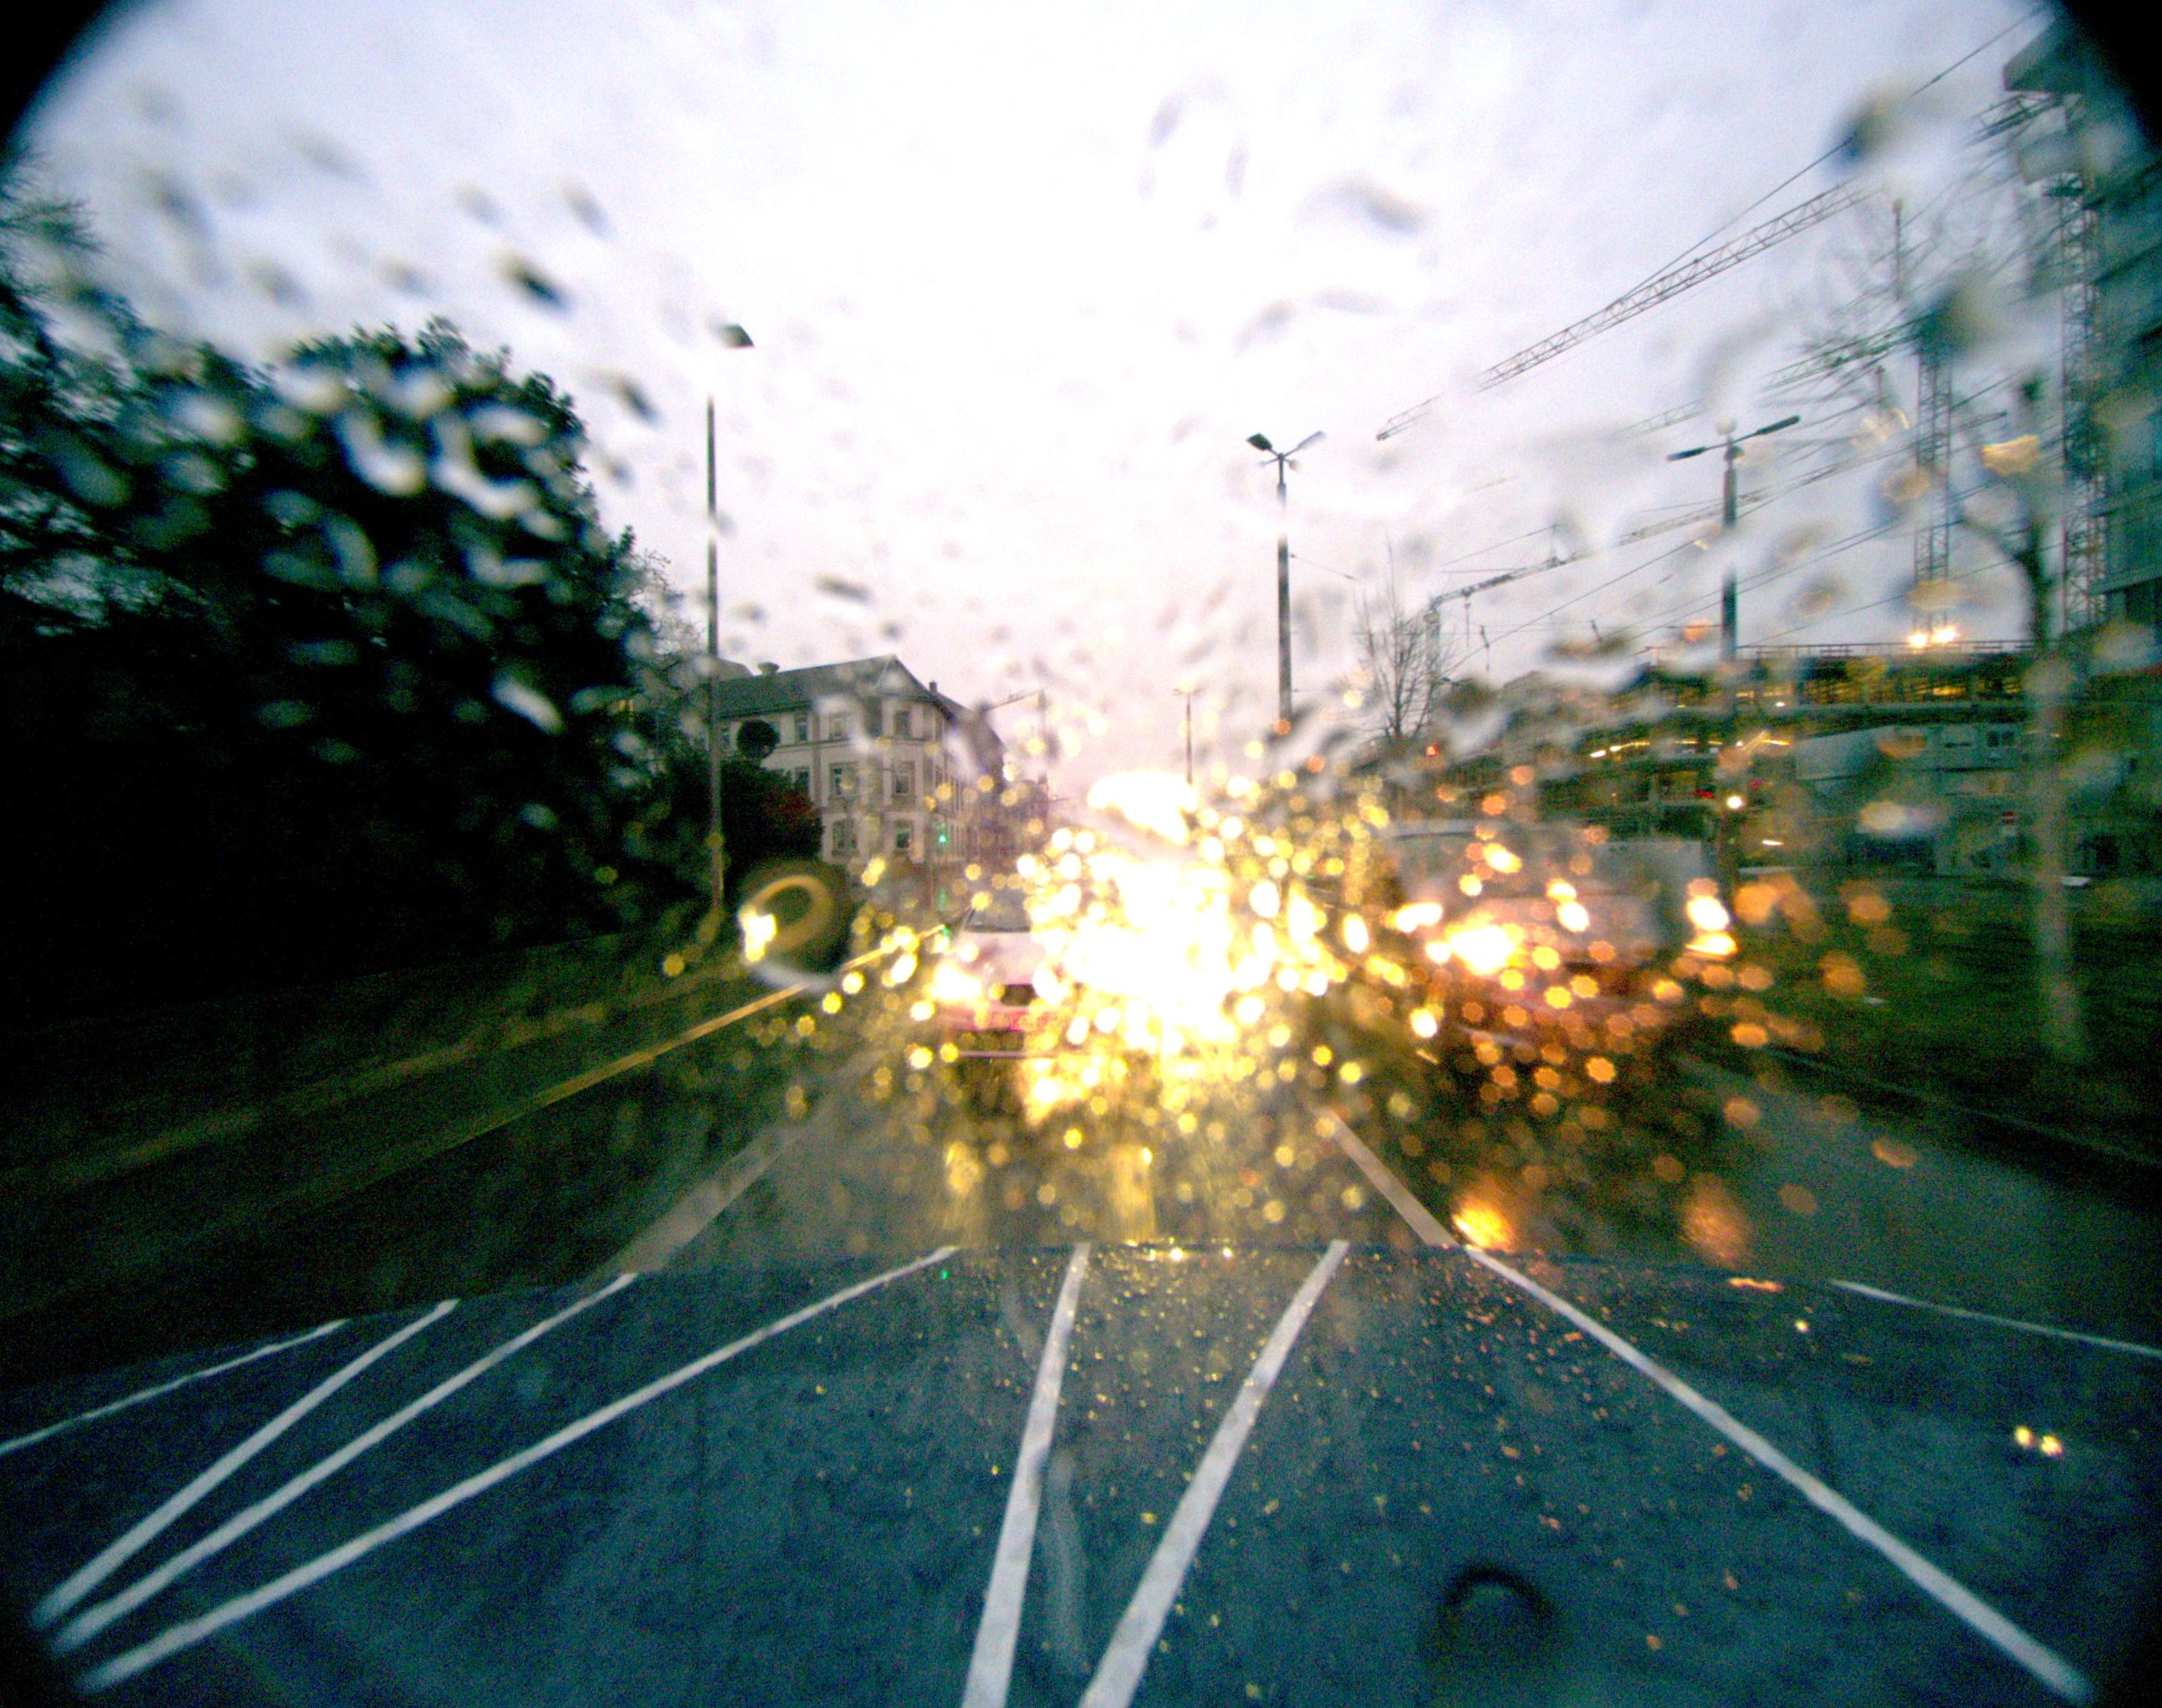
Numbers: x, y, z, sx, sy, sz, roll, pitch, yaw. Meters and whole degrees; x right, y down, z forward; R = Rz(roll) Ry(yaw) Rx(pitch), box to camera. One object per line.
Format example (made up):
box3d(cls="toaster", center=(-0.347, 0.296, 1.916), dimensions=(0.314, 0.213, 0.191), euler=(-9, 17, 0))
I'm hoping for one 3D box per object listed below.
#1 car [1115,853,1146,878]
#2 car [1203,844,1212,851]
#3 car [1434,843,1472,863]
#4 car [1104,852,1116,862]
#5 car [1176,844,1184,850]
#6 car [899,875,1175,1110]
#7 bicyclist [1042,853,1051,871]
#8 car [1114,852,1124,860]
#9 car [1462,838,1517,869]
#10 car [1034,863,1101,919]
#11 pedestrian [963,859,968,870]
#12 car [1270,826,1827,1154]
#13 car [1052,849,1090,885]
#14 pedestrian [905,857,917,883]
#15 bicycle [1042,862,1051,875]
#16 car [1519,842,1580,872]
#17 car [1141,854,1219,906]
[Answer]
box3d(cls="car", center=(2.945, 0.669, 45.670), dimensions=(1.767, 1.363, 3.981), euler=(-2, 1, 3))
box3d(cls="car", center=(35.030, -1.823, 210.771), dimensions=(1.998, 1.812, 4.001), euler=(-1, 0, 4))
box3d(cls="car", center=(33.769, -0.081, 69.040), dimensions=(1.911, 1.733, 4.002), euler=(-1, 0, 8))
box3d(cls="car", center=(4.558, 0.457, 120.439), dimensions=(1.767, 1.363, 3.981), euler=(-2, 1, 3))
box3d(cls="car", center=(31.109, -2.190, 238.318), dimensions=(1.998, 2.002, 4.000), euler=(-1, 0, 1))
box3d(cls="car", center=(-0.278, 0.991, 7.094), dimensions=(1.798, 1.363, 3.981), euler=(-2, 1, 0))
box3d(cls="bicyclist", center=(-2.745, 0.650, 60.282), dimensions=(0.647, 1.381, 0.890), euler=(-1, 1, 0))
box3d(cls="car", center=(6.762, 0.361, 135.113), dimensions=(1.767, 1.363, 3.981), euler=(-2, 1, 3))
box3d(cls="car", center=(27.615, -0.021, 51.480), dimensions=(1.997, 2.002, 4.002), euler=(-1, 0, 8))
box3d(cls="car", center=(-0.340, 0.987, 21.981), dimensions=(1.728, 1.318, 3.981), euler=(-2, 1, 0))
box3d(cls="pedestrian", center=(-9.516, 0.845, 62.769), dimensions=(0.326, 0.901, 0.377), euler=(-1, 1, 1))
box3d(cls="car", center=(3.144, 0.726, 6.436), dimensions=(1.798, 1.726, 4.536), euler=(-2, 1, -2))
box3d(cls="car", center=(-0.483, 0.634, 39.303), dimensions=(1.781, 1.666, 3.981), euler=(-2, 1, 0))
box3d(cls="pedestrian", center=(-9.844, 0.902, 44.003), dimensions=(0.522, 1.501, 0.586), euler=(-1, 1, -25))
box3d(cls="bicycle", center=(-2.748, 1.156, 60.310), dimensions=(0.647, 0.961, 2.046), euler=(-1, 0, 0))
box3d(cls="car", center=(30.917, 0.174, 50.319), dimensions=(1.997, 1.838, 4.002), euler=(-1, 0, 8))
box3d(cls="car", center=(3.119, 0.771, 24.730), dimensions=(1.851, 1.397, 4.613), euler=(-2, 1, -1))
